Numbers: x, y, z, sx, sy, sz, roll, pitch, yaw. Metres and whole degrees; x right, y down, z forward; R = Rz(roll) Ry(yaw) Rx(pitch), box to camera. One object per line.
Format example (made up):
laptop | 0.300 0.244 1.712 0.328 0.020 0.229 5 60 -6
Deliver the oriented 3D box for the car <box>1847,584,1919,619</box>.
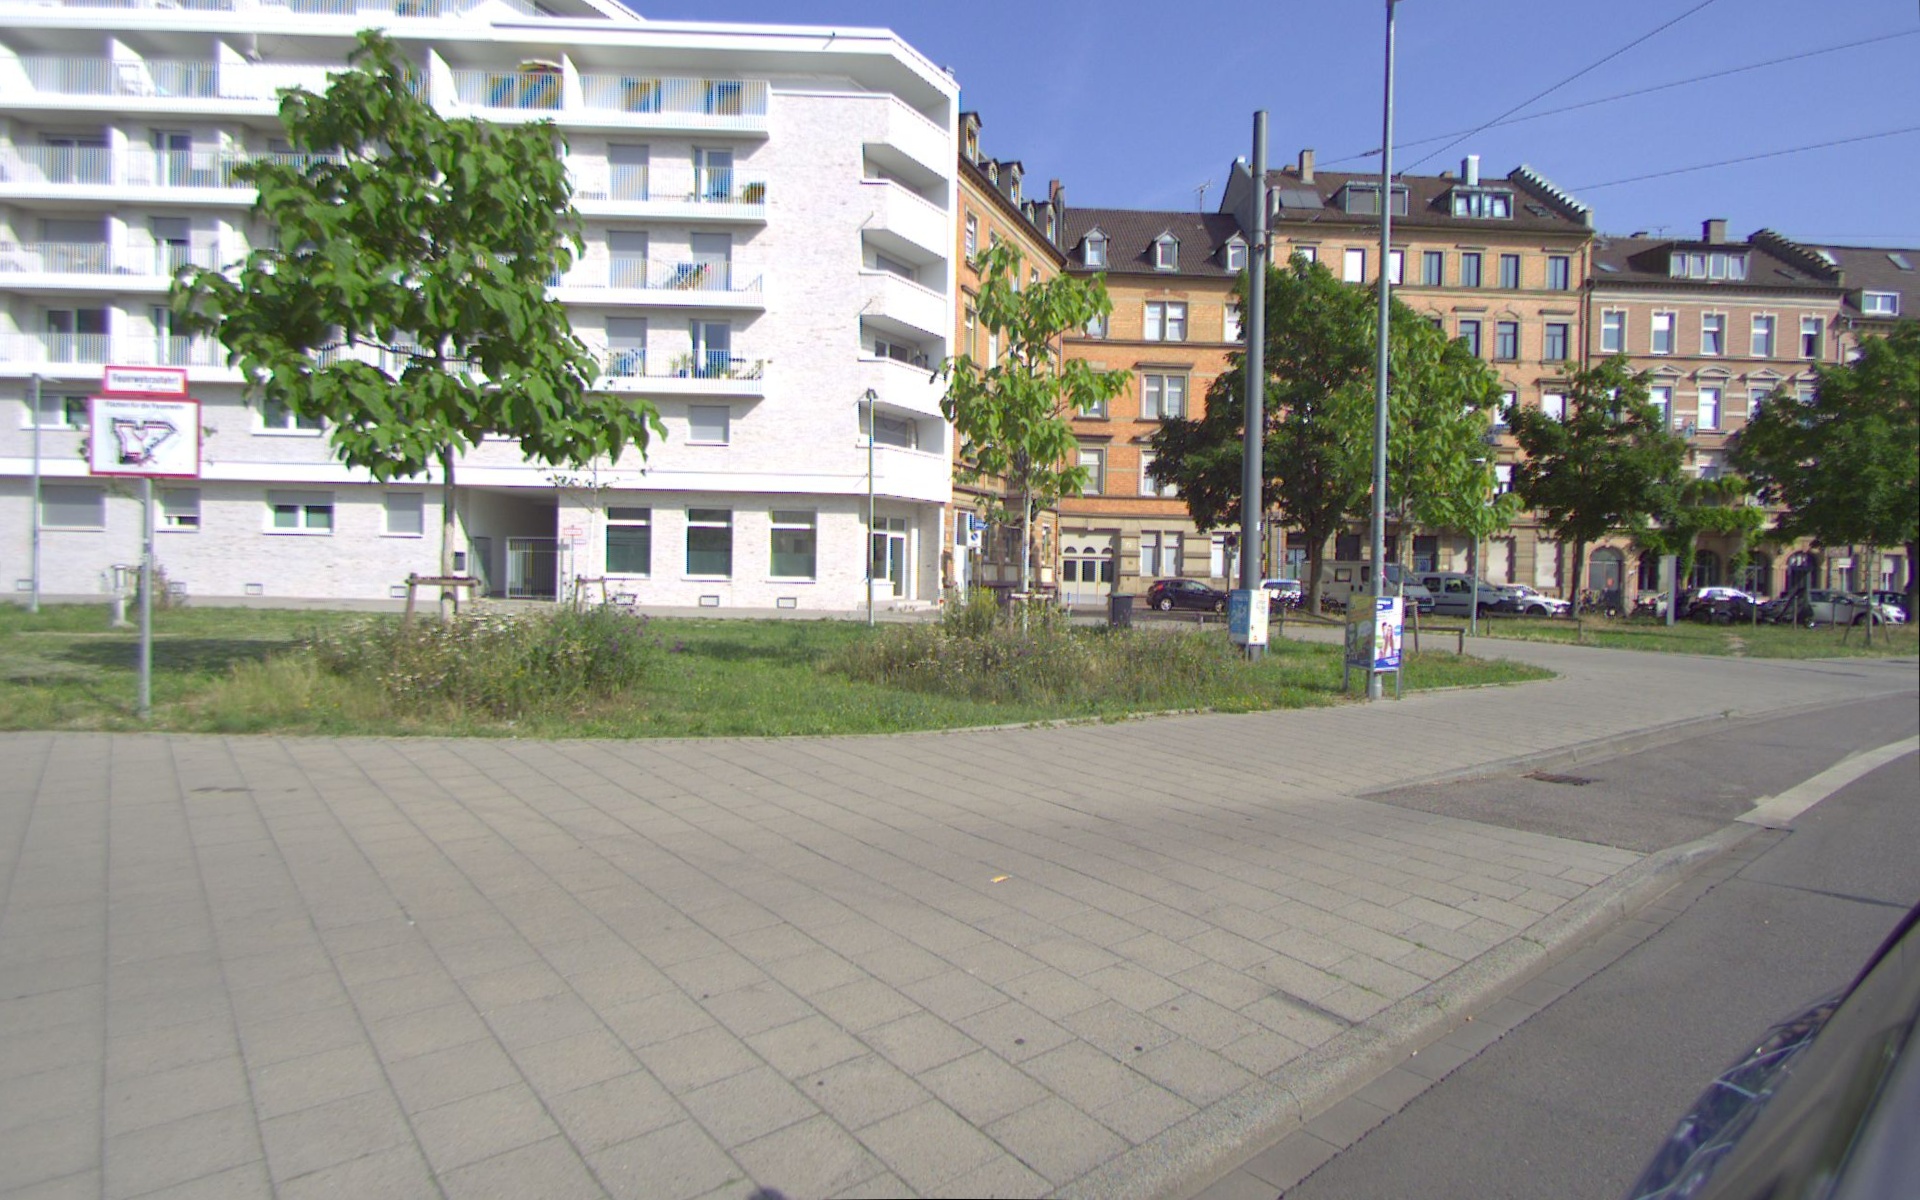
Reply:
car | 35.868 0.080 37.808 1.690 1.264 3.855 0 1 -37

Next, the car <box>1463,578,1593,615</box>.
car | 20.942 -0.148 37.441 1.690 1.264 3.855 0 1 -37

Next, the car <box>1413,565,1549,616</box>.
car | 18.847 -0.387 36.753 1.845 1.727 3.984 0 1 -37

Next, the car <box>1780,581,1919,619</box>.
car | 33.354 -0.031 37.884 1.690 1.264 3.855 0 1 -37

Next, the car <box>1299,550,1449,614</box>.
car | 15.216 -0.676 37.488 1.842 2.205 5.053 1 1 -30

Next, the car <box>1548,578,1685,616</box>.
car | 23.996 -0.145 37.098 1.690 1.264 3.855 0 1 -37
